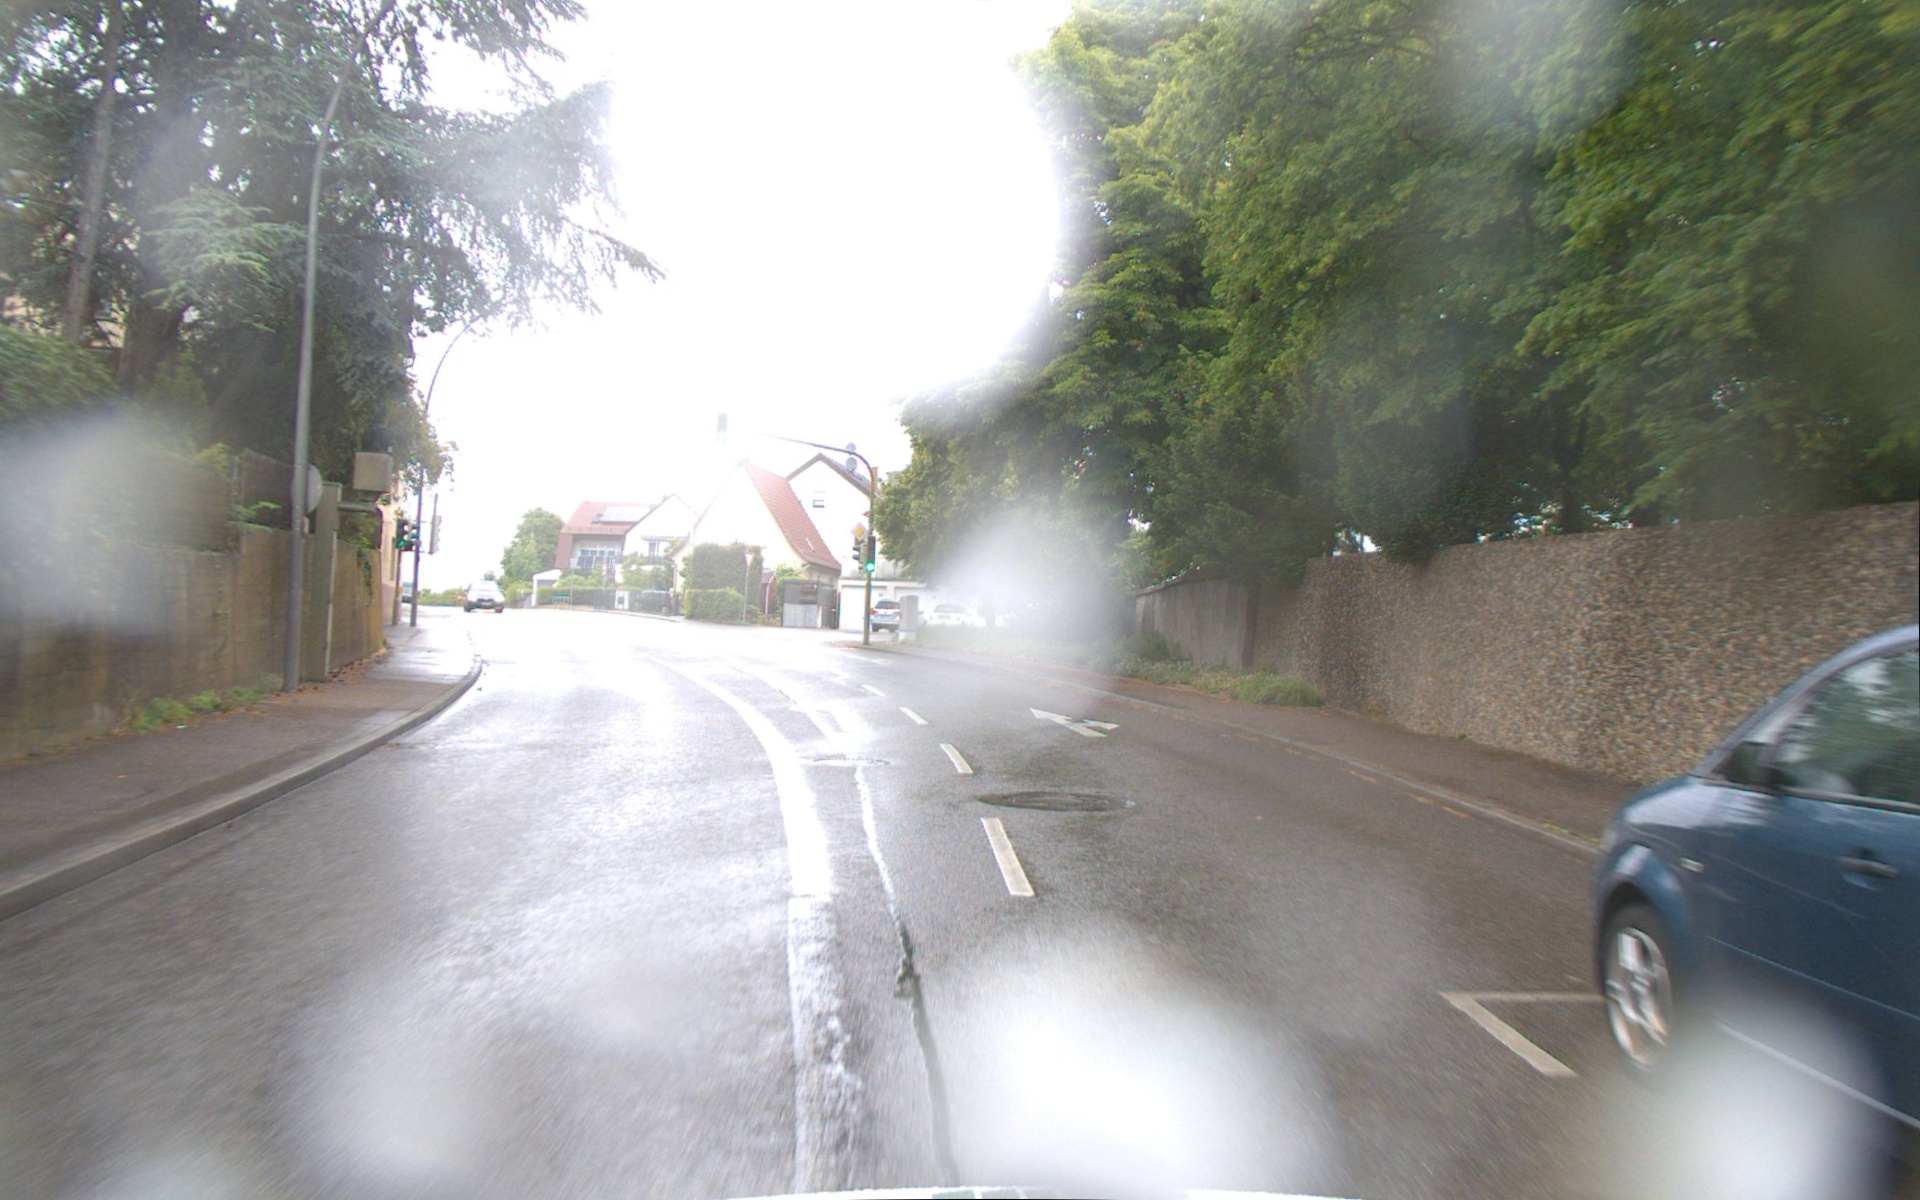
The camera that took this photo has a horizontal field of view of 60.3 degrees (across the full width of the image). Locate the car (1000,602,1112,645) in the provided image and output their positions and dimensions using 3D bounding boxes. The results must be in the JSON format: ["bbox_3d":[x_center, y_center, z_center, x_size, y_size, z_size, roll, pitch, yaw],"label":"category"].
[{"bbox_3d":[3.714,0.908,64.668,4.095,1.467,1.831,3,0,-6],"label":"car"}]

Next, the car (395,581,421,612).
[{"bbox_3d":[-52.151,-0.305,156.274,2.062,2.695,5.887,4,-3,-18],"label":"car"}]

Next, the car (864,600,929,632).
[{"bbox_3d":[-2.928,0.751,77.587,1.951,1.422,4.154,1,0,14],"label":"car"}]

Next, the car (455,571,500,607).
[{"bbox_3d":[-24.411,-0.574,83.580,1.963,1.735,3.978,2,0,-19],"label":"car"}]

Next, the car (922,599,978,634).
[{"bbox_3d":[-0.432,0.761,77.291,1.951,1.557,4.003,1,0,10],"label":"car"}]

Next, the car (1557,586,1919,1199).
[{"bbox_3d":[3.124,0.759,4.183,1.753,1.559,3.799,1,0,-2],"label":"car"}]
